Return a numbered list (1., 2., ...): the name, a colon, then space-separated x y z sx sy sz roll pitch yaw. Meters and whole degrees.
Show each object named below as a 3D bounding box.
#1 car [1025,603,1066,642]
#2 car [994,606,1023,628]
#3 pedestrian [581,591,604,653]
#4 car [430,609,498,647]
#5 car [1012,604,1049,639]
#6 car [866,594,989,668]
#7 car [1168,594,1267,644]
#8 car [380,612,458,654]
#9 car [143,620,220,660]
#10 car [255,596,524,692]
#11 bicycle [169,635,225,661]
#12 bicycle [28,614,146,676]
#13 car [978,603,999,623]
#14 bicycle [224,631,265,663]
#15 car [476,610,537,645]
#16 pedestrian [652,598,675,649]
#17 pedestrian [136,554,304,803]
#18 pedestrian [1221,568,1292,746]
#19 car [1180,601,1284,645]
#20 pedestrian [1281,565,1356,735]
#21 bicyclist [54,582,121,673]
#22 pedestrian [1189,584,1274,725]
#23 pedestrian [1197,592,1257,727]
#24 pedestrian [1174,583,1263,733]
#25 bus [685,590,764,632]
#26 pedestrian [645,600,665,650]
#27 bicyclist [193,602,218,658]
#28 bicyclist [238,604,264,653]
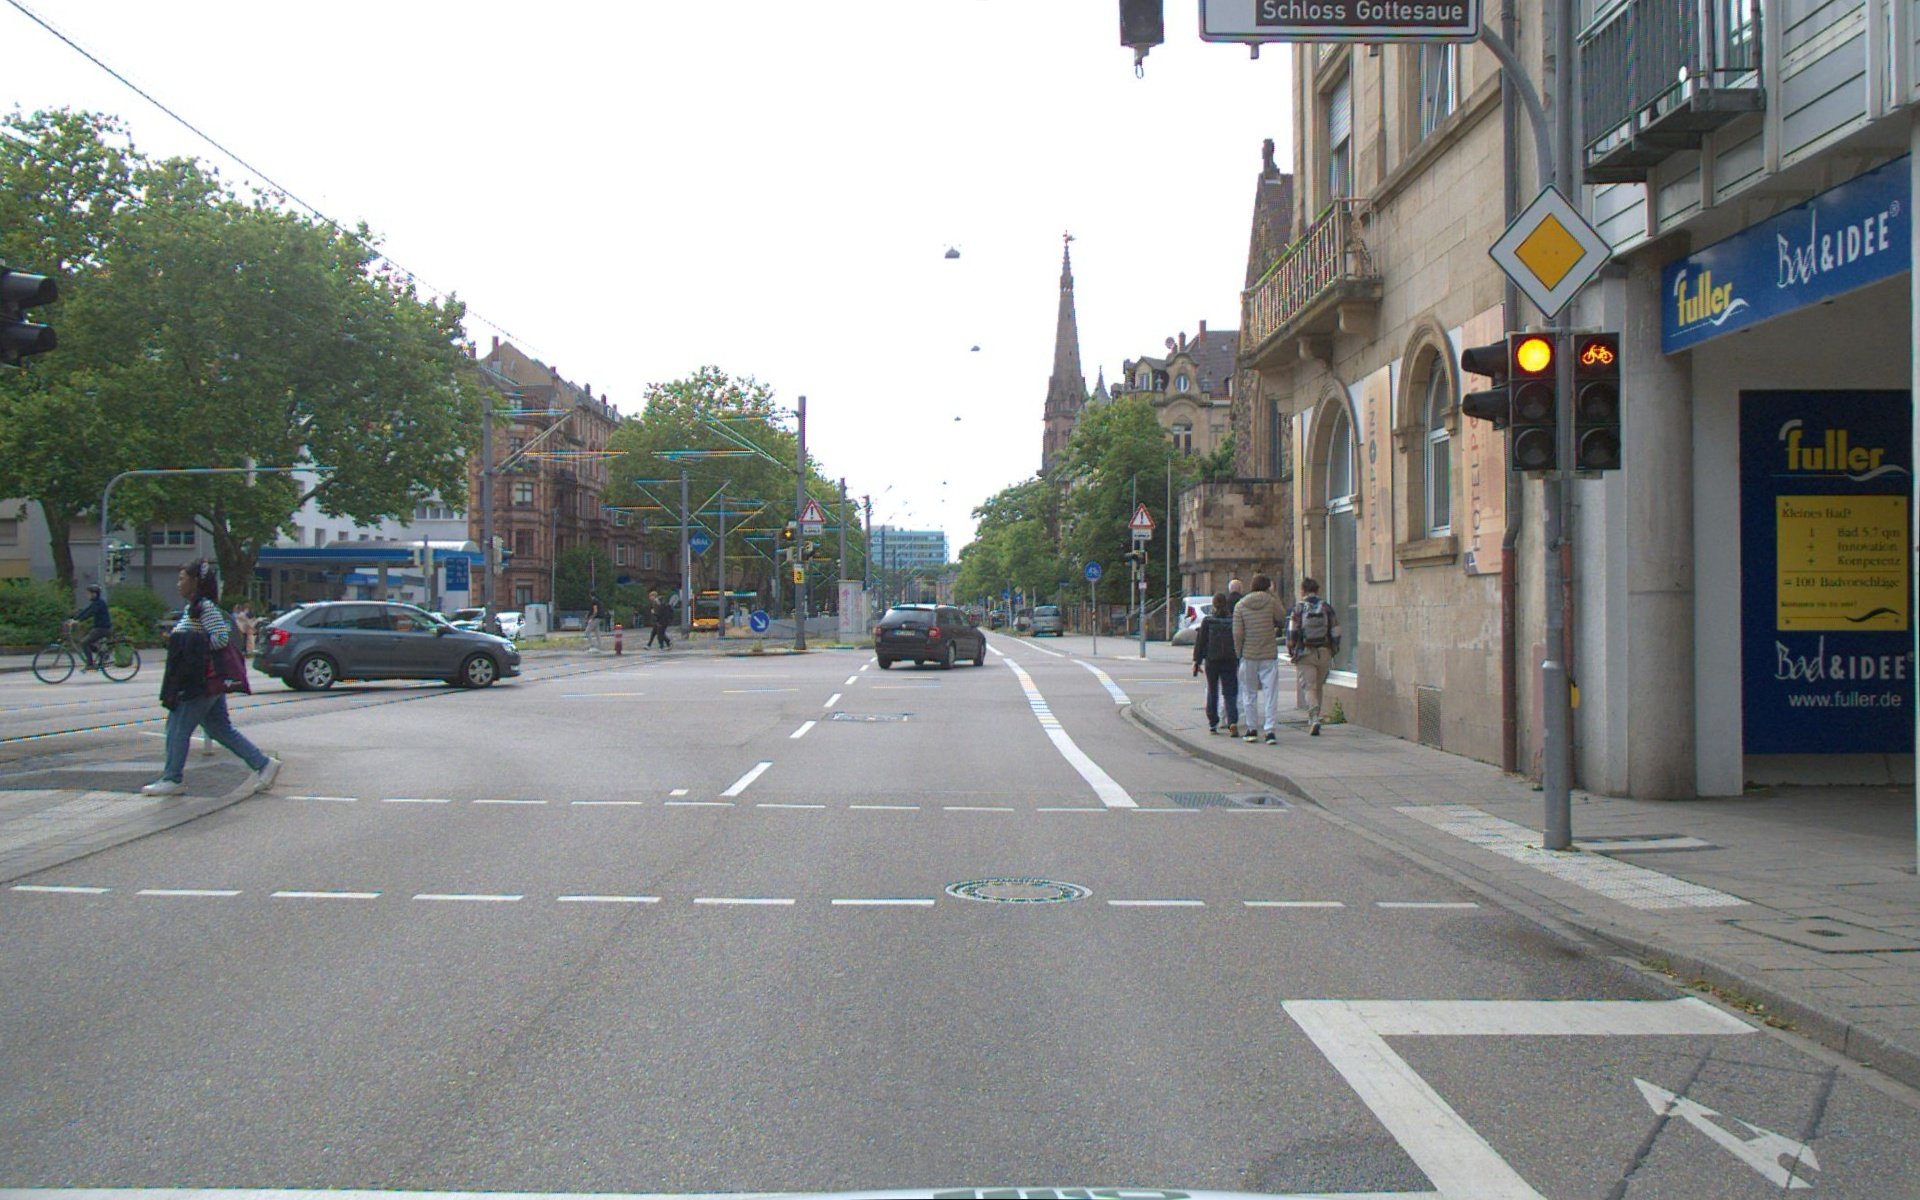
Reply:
1. car: 4.642 1.218 90.132 1.953 2.049 3.999 1 -1 -1
2. car: 3.749 1.305 128.518 1.953 1.635 4.163 -2 0 -1
3. pedestrian: -10.923 0.665 49.204 0.562 1.826 0.518 1 -1 -5
4. car: -21.526 1.201 71.933 1.856 1.585 3.835 1 -1 -1
5. car: 4.213 1.292 99.712 1.953 2.049 3.999 1 -1 -1
6. car: -0.692 0.705 38.843 1.767 1.614 4.344 1 -1 14
7. car: 10.635 0.784 68.463 3.721 1.937 2.000 1 -1 -1
8. car: -21.396 1.277 65.548 1.856 1.585 3.835 1 -1 -1
9. car: -32.537 1.668 69.252 1.859 1.585 3.828 1 -1 -9
10. car: -9.495 0.724 27.596 3.940 1.495 1.822 1 -1 -32
11. bicycle: -24.921 1.557 54.005 1.645 0.786 0.656 1 -1 20
12. bicycle: -16.862 0.872 31.997 1.910 1.155 0.731 1 -1 -22
13. car: 2.953 1.366 172.390 1.953 2.049 3.999 1 -1 -1
14. bicycle: -23.584 1.543 54.554 0.511 1.035 1.936 1 -1 -1
15. car: -21.583 1.301 78.802 1.856 1.585 3.835 1 -1 -1
16. pedestrian: -9.226 0.737 51.485 0.640 1.564 0.465 1 -1 -5
17. pedestrian: -5.316 0.542 11.901 0.659 1.709 0.864 0 -1 38
18. pedestrian: 3.208 0.602 17.847 0.571 1.845 1.015 1 -1 19
19. car: 10.682 0.910 65.052 3.721 1.629 2.000 1 -1 -1
20. pedestrian: 3.983 0.551 18.462 0.613 1.809 1.135 -3 -1 6
21. bicyclist: -16.859 0.532 31.977 1.023 1.713 0.641 1 -1 -21
22. pedestrian: 3.575 0.705 21.779 0.900 1.815 0.645 0 -1 37
23. pedestrian: 3.307 0.728 20.519 0.685 1.621 0.831 1 -1 7
24. pedestrian: 3.002 0.662 19.151 0.616 1.681 0.993 0 -1 36
25. bus: -18.696 0.913 132.389 3.019 3.166 13.102 1 -1 6
26. pedestrian: -9.579 0.794 52.011 0.535 1.564 0.465 1 -1 -5
27. bicyclist: -24.647 0.977 54.004 0.522 1.815 0.470 1 -1 19
28. bicyclist: -23.557 0.948 54.946 0.576 1.595 0.618 1 -1 -1
